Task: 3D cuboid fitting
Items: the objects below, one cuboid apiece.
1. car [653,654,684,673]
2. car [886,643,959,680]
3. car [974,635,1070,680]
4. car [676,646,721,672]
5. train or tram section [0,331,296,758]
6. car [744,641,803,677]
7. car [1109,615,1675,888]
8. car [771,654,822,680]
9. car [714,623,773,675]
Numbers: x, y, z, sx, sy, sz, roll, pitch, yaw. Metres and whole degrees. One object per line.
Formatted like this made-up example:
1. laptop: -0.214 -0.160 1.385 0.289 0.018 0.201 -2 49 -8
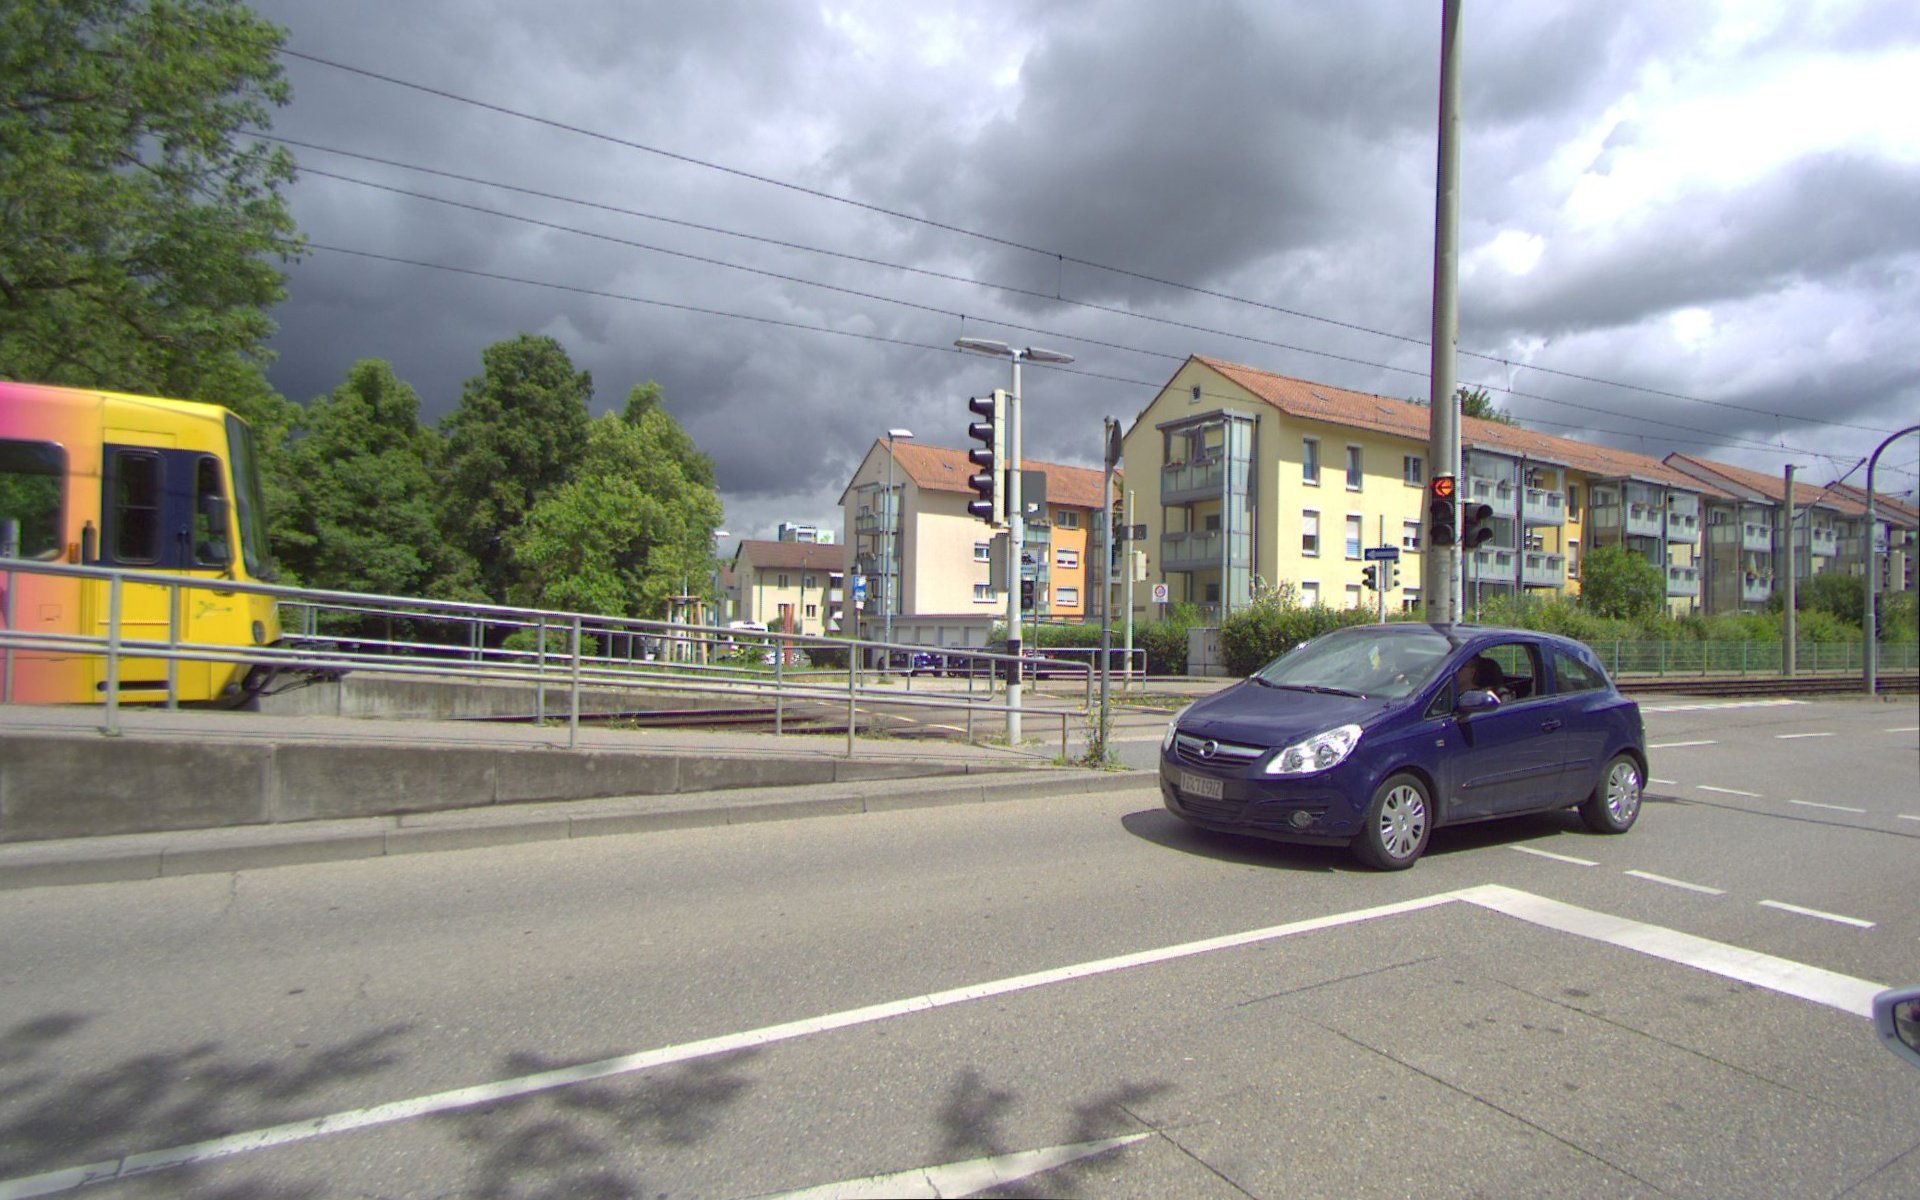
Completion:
1. car: -24.717 5.364 85.000 1.972 1.485 3.979 2 -5 -24
2. car: -1.663 2.676 43.248 1.970 1.485 3.983 2 -5 -21
3. car: 2.146 2.105 35.814 1.970 1.485 3.983 2 -5 -21
4. car: -15.998 3.631 61.357 1.974 1.485 3.976 2 -5 -26
5. train or tram section: -15.731 -0.733 6.933 18.319 3.914 2.966 2 0 -30
6. car: -8.494 2.718 45.508 1.970 1.485 3.983 2 -5 -21
7. car: 3.169 0.894 7.188 3.962 1.460 1.709 2 -1 -31
8. car: -9.888 4.077 60.518 1.974 1.485 3.976 2 -5 -26
9. car: -10.777 2.494 49.734 1.974 2.387 3.976 2 -5 -26
